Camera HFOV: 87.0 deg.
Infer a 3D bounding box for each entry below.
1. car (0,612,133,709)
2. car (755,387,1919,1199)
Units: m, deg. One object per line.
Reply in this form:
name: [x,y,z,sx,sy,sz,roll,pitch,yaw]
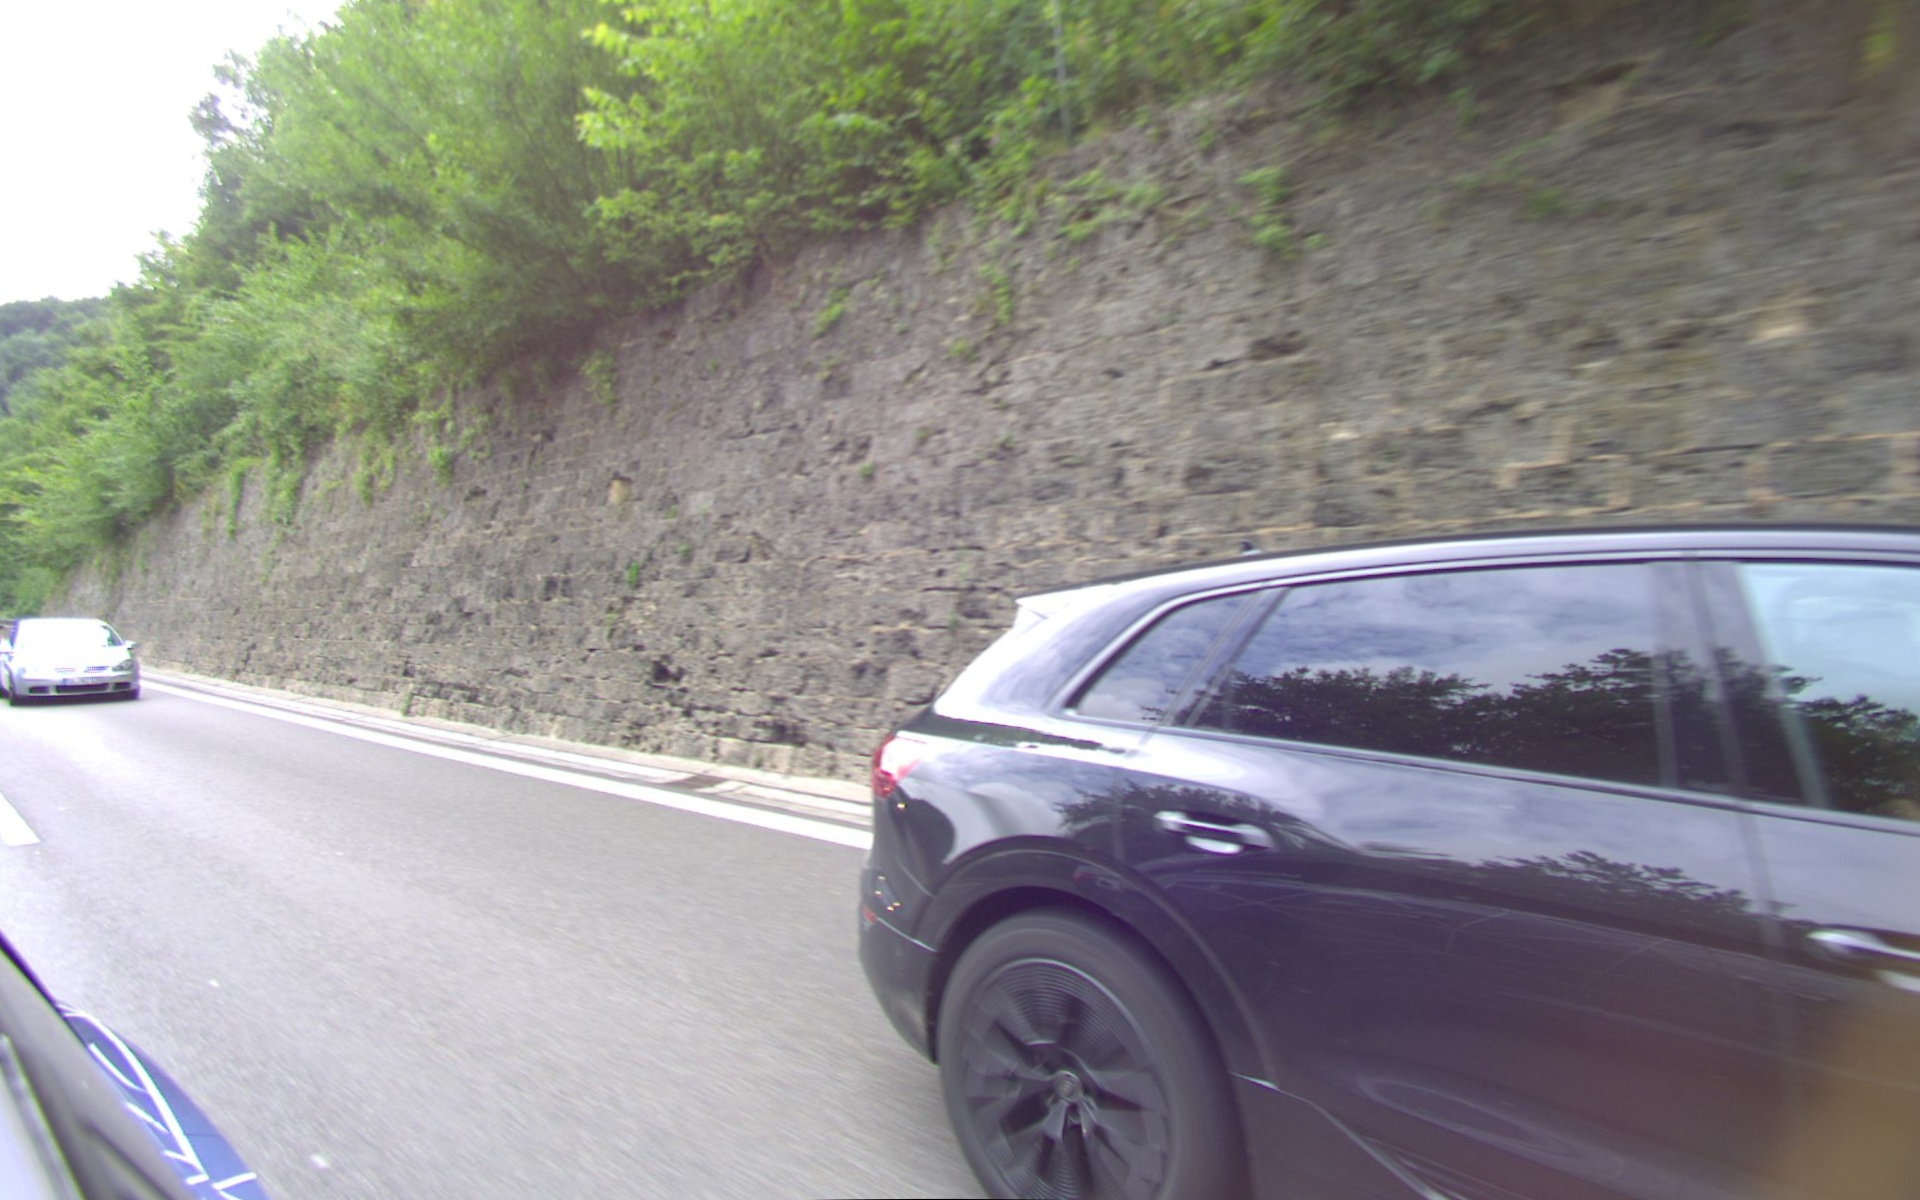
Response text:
car: [-16.652,1.027,18.620,4.584,1.526,1.663,-1,0,44]
car: [1.949,0.563,1.895,5.006,1.644,1.973,-1,-1,41]
